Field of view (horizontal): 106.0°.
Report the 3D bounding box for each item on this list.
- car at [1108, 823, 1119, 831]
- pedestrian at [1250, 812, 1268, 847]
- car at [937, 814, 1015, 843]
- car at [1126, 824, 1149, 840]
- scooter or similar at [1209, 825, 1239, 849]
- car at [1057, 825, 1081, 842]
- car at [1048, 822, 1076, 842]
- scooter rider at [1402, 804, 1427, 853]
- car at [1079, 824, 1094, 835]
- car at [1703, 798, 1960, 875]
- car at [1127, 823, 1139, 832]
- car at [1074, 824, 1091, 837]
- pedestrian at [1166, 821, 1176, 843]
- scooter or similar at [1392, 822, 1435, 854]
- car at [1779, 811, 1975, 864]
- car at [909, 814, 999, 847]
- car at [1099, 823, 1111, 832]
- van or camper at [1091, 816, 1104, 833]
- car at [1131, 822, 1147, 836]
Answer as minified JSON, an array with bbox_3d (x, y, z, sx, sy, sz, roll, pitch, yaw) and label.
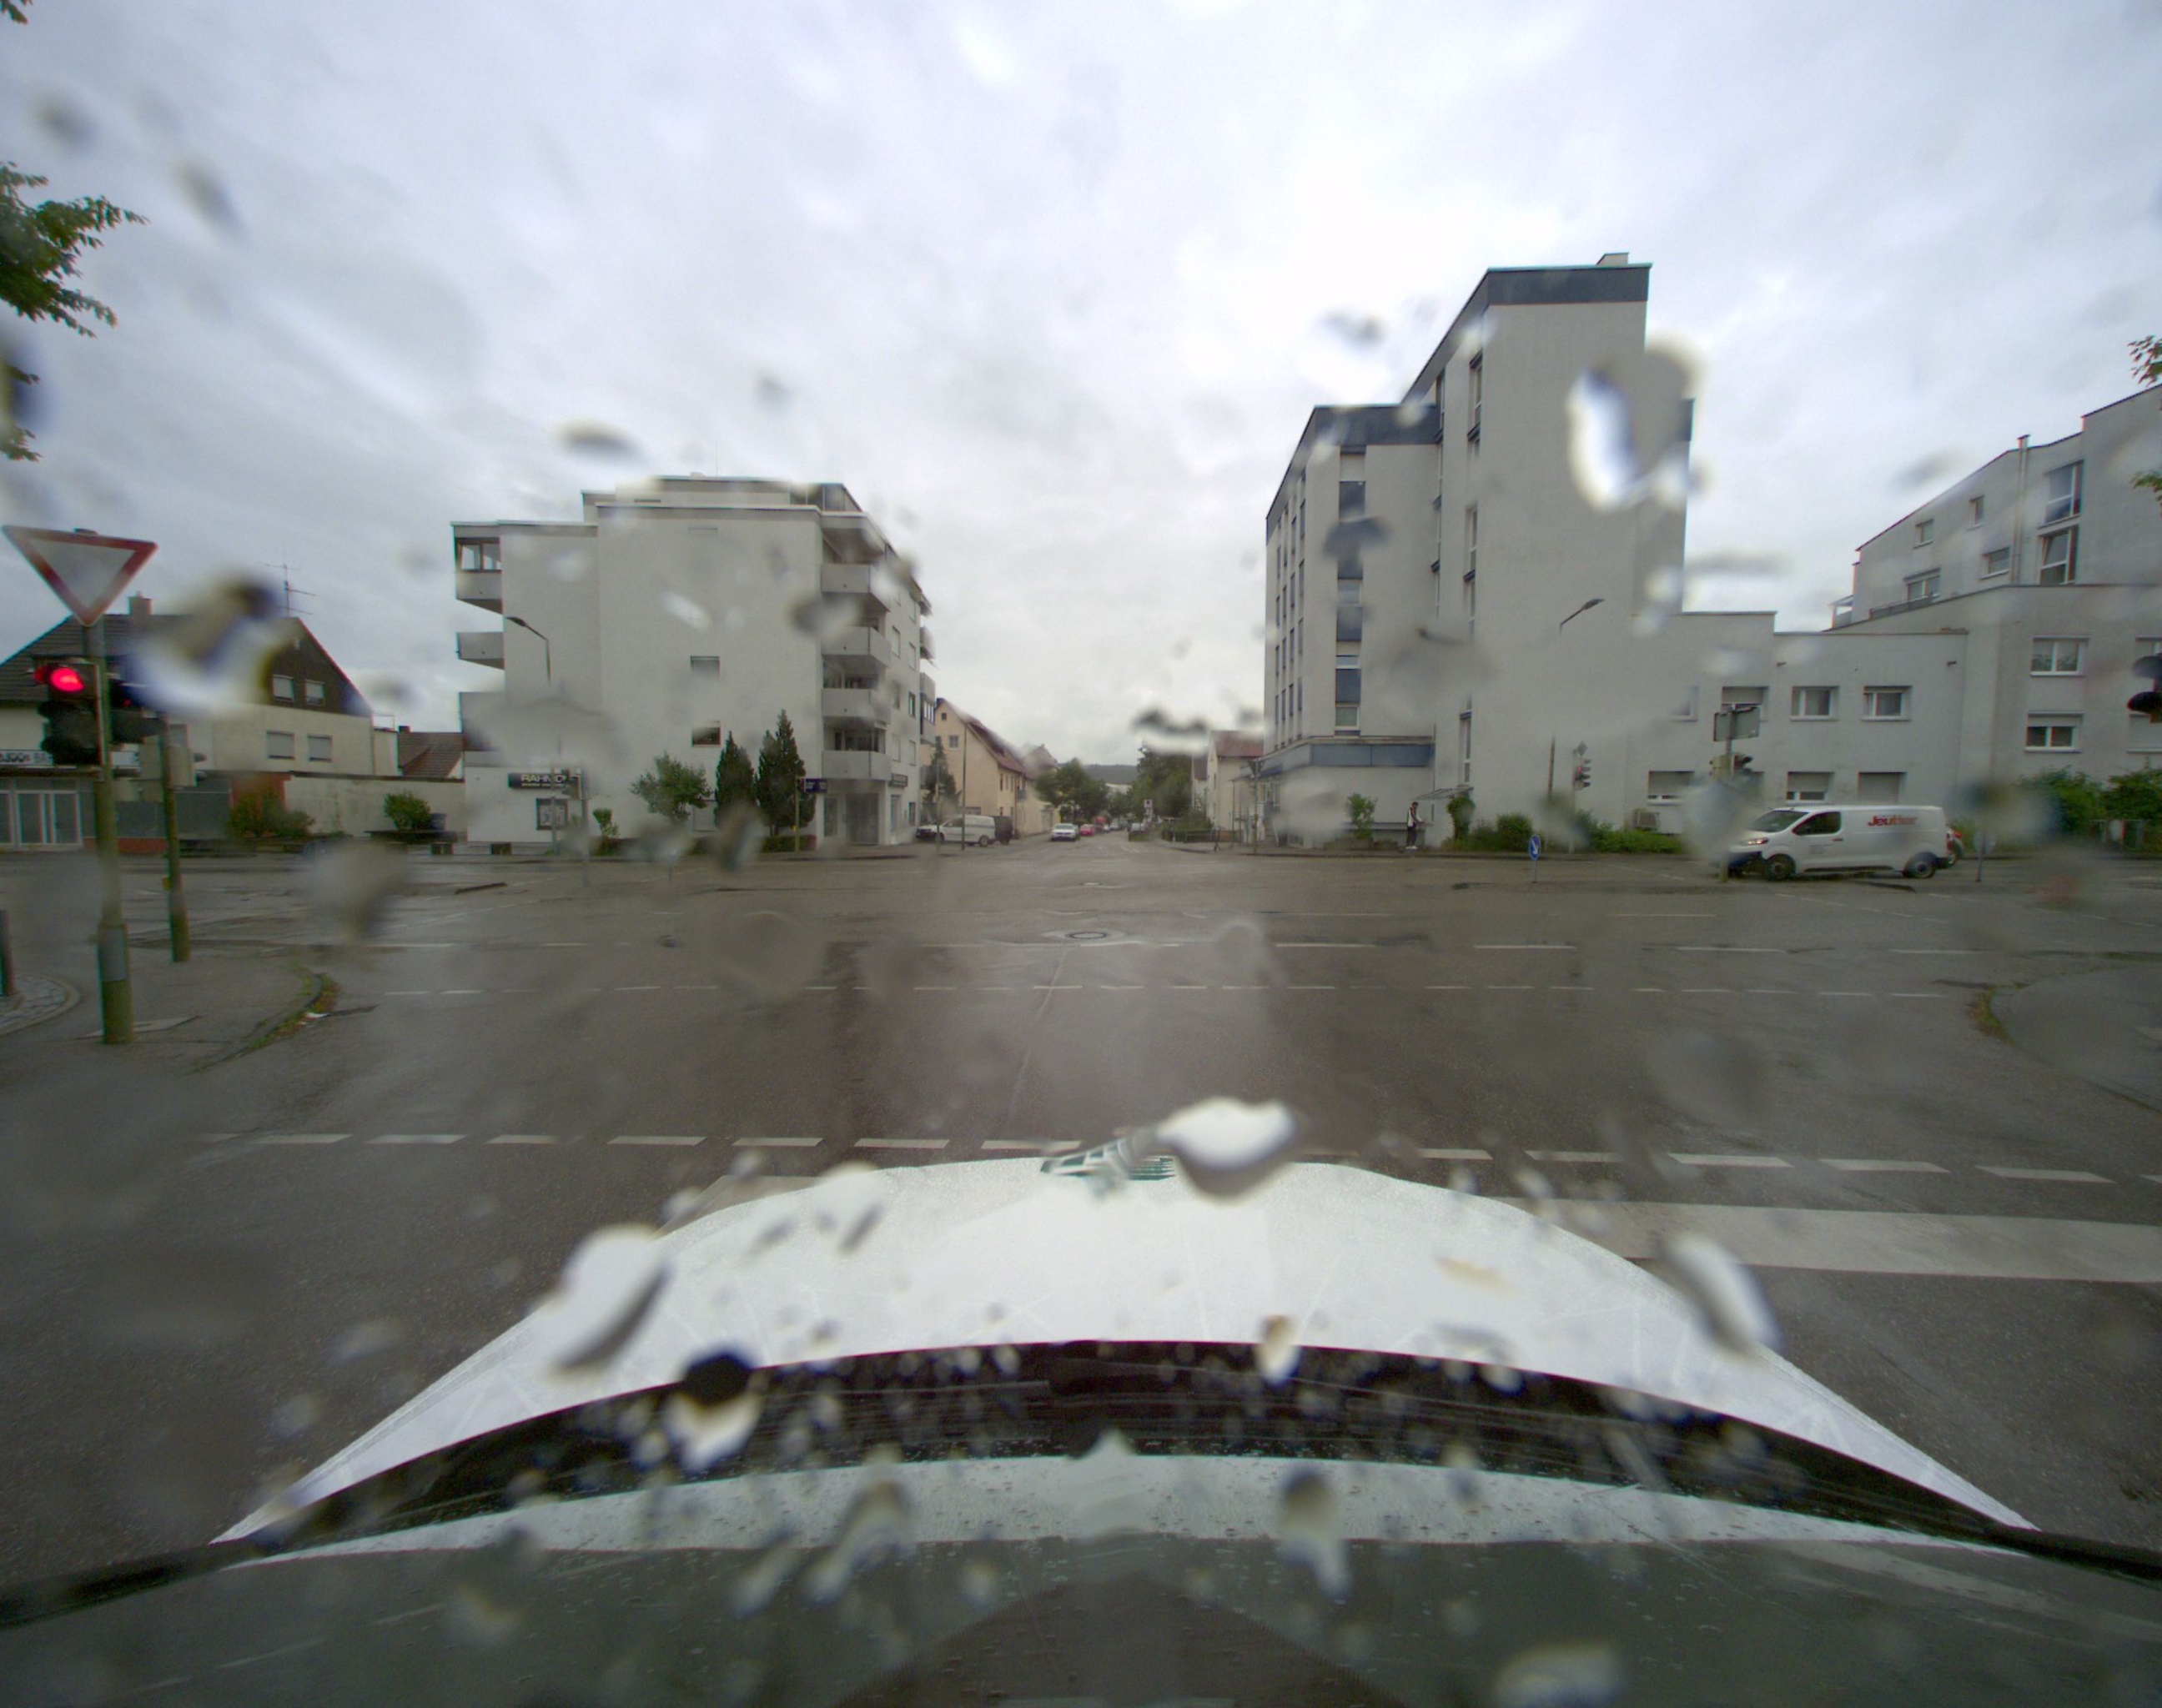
[{"bbox_3d":[6.164,-5.145,154.726,1.894,1.558,4.195,-1,2,3],"label":"car"},{"bbox_3d":[8.606,-1.181,39.427,0.646,1.647,0.525,3,1,-4],"label":"pedestrian"},{"bbox_3d":[-7.078,-1.721,54.932,4.866,1.835,1.978,-2,2,-36],"label":"car"},{"bbox_3d":[5.631,-2.195,81.334,2.137,1.589,4.131,-1,2,3],"label":"car"},{"bbox_3d":[6.764,-0.799,38.595,1.265,1.081,0.876,-1,1,-3],"label":"scooter or similar"},{"bbox_3d":[-1.161,-2.027,79.582,1.985,1.625,4.195,-1,2,3],"label":"car"},{"bbox_3d":[-1.542,-1.862,68.178,1.985,1.625,4.195,-1,2,3],"label":"car"},{"bbox_3d":[12.413,-0.959,30.322,0.664,1.795,0.759,0,2,39],"label":"scooter rider"},{"bbox_3d":[0.745,-3.380,113.017,1.894,1.558,4.195,-1,2,3],"label":"car"},{"bbox_3d":[19.538,-0.431,21.409,4.787,1.916,1.831,0,0,8],"label":"car"},{"bbox_3d":[9.394,-4.787,147.233,1.983,1.683,4.009,-1,2,7],"label":"car"},{"bbox_3d":[0.199,-3.010,104.618,1.894,1.558,4.195,-1,2,3],"label":"car"},{"bbox_3d":[7.607,-1.850,68.661,0.742,1.848,0.527,3,1,6],"label":"pedestrian"},{"bbox_3d":[12.394,-0.589,30.369,1.297,1.171,0.764,0,2,39],"label":"scooter or similar"},{"bbox_3d":[23.833,-0.504,24.524,3.966,1.467,1.835,-1,2,6],"label":"car"},{"bbox_3d":[-7.446,-1.405,47.916,4.866,1.835,1.978,-2,2,-36],"label":"car"},{"bbox_3d":[4.062,-4.497,138.773,1.894,1.558,4.195,-1,2,3],"label":"car"},{"bbox_3d":[2.547,-4.617,126.873,1.894,2.513,4.242,-1,1,3],"label":"van or camper"},{"bbox_3d":[7.362,-3.182,103.623,1.894,1.745,4.195,-1,2,3],"label":"car"}]
